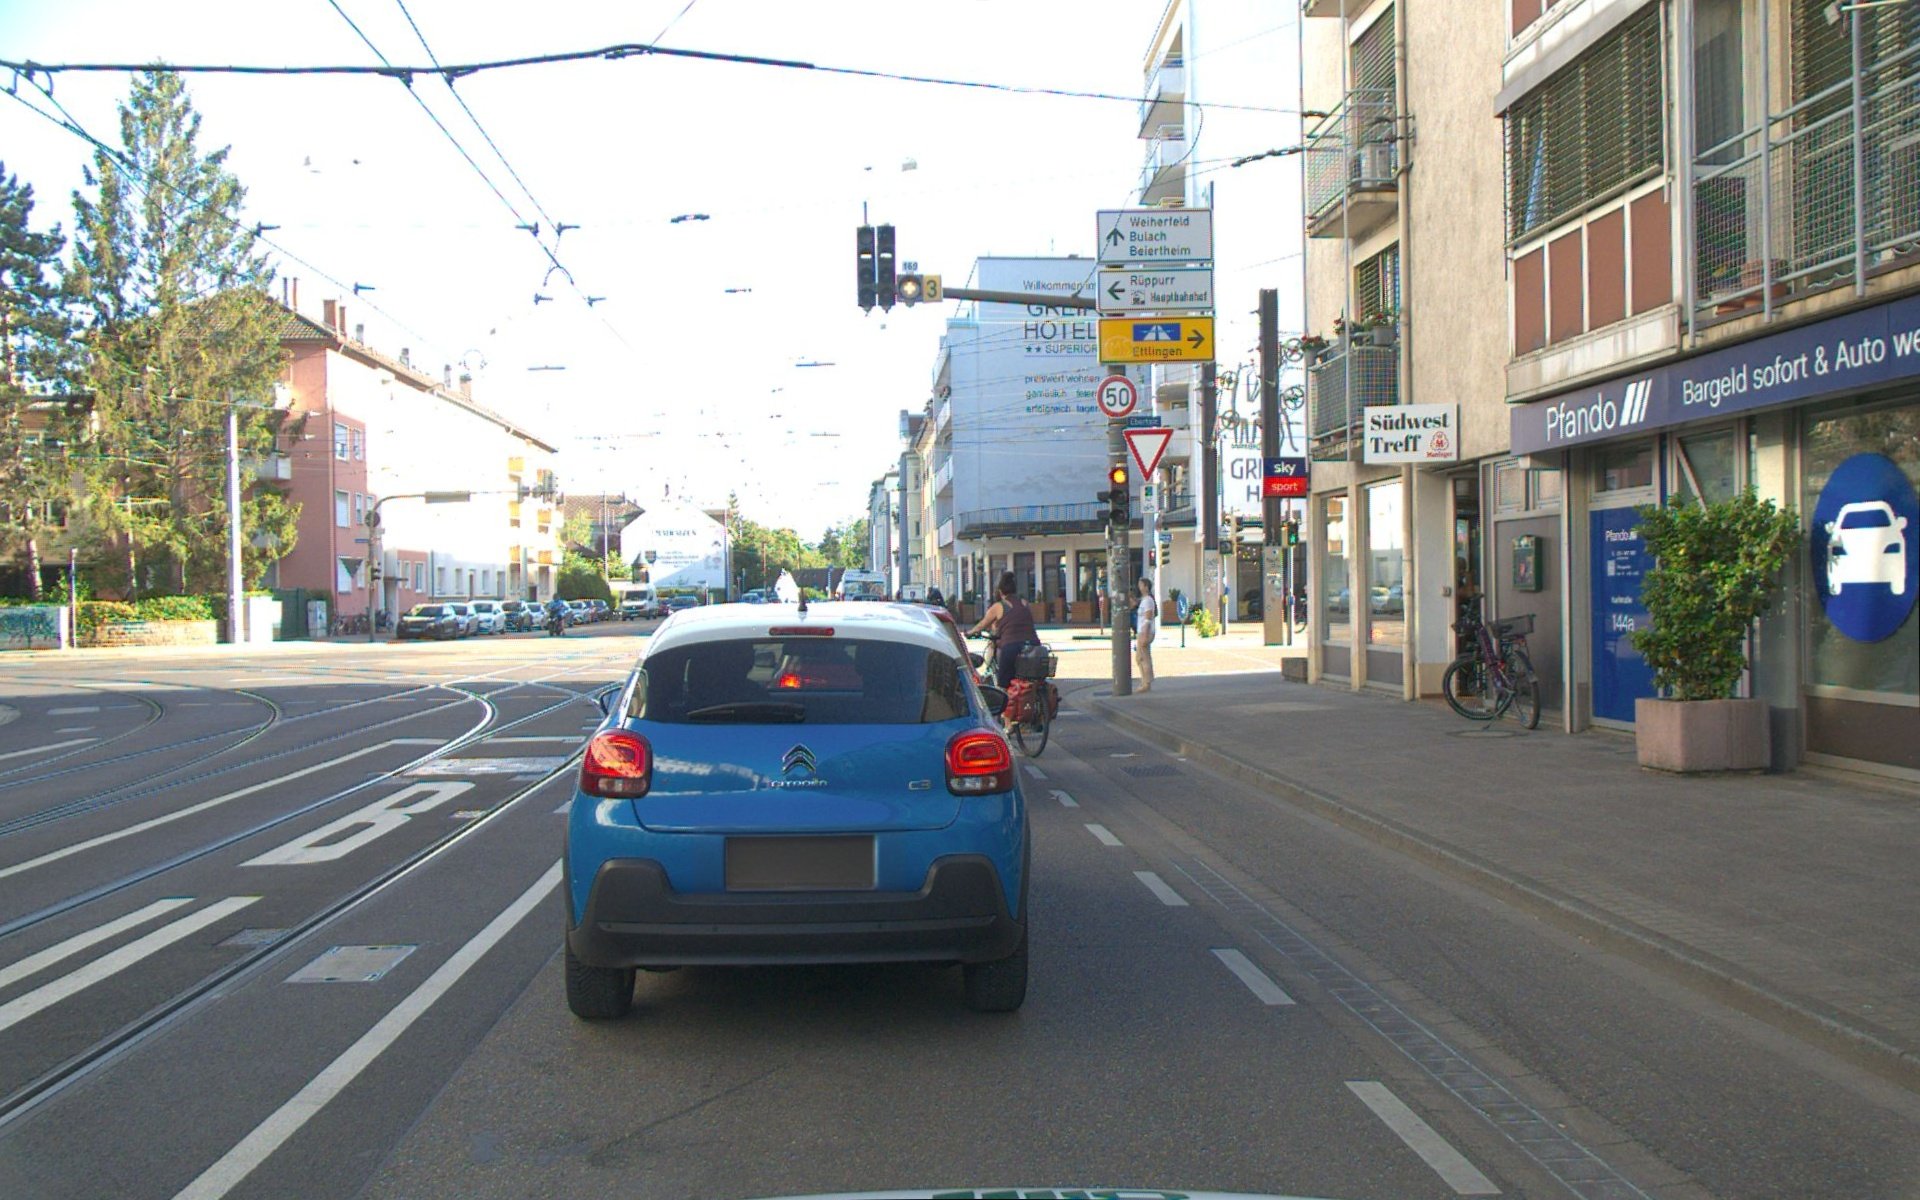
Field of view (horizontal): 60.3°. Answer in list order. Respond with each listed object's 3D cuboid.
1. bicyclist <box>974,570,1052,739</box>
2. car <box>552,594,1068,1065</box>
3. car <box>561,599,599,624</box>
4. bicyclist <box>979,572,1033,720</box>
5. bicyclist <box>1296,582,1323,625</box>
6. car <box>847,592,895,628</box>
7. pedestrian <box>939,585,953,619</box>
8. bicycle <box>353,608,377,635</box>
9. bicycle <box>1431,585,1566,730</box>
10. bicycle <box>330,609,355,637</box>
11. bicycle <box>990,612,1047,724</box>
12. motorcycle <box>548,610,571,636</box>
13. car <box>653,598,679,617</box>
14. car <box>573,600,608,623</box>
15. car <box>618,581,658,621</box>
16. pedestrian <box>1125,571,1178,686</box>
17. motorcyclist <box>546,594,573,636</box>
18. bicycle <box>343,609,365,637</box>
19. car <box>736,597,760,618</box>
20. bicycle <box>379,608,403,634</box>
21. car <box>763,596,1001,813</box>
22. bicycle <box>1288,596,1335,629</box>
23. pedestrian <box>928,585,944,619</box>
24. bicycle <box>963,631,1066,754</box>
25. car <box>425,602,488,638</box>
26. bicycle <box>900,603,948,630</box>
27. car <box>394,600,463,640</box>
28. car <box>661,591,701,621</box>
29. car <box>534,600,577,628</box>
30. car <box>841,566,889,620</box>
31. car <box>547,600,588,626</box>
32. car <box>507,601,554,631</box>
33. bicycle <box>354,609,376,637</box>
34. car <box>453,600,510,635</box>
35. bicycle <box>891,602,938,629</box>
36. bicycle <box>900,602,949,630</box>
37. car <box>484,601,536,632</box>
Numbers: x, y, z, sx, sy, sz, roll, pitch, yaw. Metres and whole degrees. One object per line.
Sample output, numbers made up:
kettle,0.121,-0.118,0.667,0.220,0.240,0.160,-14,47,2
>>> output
bicyclist,0.528,0.536,16.803,0.606,1.658,0.757,-1,0,-12
car,-0.617,0.736,7.346,1.647,1.488,3.997,1,0,-4
car,-24.857,0.745,108.258,1.913,1.545,3.995,-1,0,-6
bicyclist,0.563,0.556,20.591,0.588,1.776,1.084,-1,0,-1
bicyclist,12.043,0.118,56.980,0.715,1.459,0.603,-1,0,37
car,-3.682,0.384,67.735,1.752,1.383,3.909,-1,0,-6
pedestrian,-0.591,0.086,69.988,0.459,1.445,0.525,-1,0,-13
bicycle,-25.880,0.924,71.982,0.527,1.101,1.908,-1,0,-7
bicycle,5.108,0.510,15.815,0.627,1.286,1.910,-1,0,-1
bicycle,-24.988,0.916,66.986,0.628,1.101,1.905,-1,0,-11
bicycle,0.716,0.818,20.632,0.601,1.286,1.910,-1,0,-1
motorcycle,-16.231,0.938,67.016,0.738,0.993,2.092,-1,0,-9
car,-25.582,0.637,144.160,1.913,1.545,3.995,-1,0,-6
car,-25.574,0.783,114.588,1.913,1.545,3.995,-1,0,-6
car,-23.231,0.063,119.572,2.446,2.759,5.828,-1,0,-7
pedestrian,2.820,0.417,24.403,0.735,1.663,0.740,-1,0,5
motorcyclist,-16.211,0.605,66.948,0.973,1.659,0.737,-1,0,-10
bicycle,-24.594,0.926,67.111,0.527,1.101,1.905,-1,0,-11
car,-21.820,0.801,170.487,2.293,2.074,5.044,-1,0,-6
bicycle,-25.678,0.937,74.687,0.597,1.101,1.908,-1,0,-7
car,-0.684,0.731,13.554,1.647,1.488,3.997,1,0,-4
bicycle,12.092,0.441,56.946,1.464,1.110,0.603,-1,0,37
pedestrian,-1.016,0.091,70.233,0.514,1.445,0.547,-1,0,19
bicycle,0.528,0.906,16.818,0.606,1.123,1.881,-1,0,-12
car,-22.560,0.873,74.251,1.913,1.545,4.040,-1,0,-6
bicycle,-1.452,0.666,67.080,1.868,1.083,0.641,-1,0,-8
car,-22.021,0.788,68.646,1.913,1.545,3.995,-1,0,-6
car,-15.870,0.309,94.254,1.967,1.656,5.045,-1,0,-7
car,-23.941,0.819,97.988,1.913,1.545,3.995,-1,0,-6
car,-4.237,-0.317,73.173,2.039,2.309,5.646,0,0,-4
car,-24.415,0.803,102.985,1.913,1.545,3.995,-1,0,-6
car,-23.770,0.852,91.563,1.913,1.545,3.995,-1,0,-6
bicycle,-24.236,0.933,67.411,0.527,1.101,1.905,-1,0,-11
car,-22.762,0.817,78.856,1.913,1.545,3.995,-1,0,-6
bicycle,-1.866,0.643,68.266,1.868,1.083,0.641,-1,0,-8
bicycle,-1.399,0.641,65.775,1.868,1.083,0.641,-1,0,-8
car,-23.240,0.836,85.513,1.913,1.545,3.995,-1,0,-6
